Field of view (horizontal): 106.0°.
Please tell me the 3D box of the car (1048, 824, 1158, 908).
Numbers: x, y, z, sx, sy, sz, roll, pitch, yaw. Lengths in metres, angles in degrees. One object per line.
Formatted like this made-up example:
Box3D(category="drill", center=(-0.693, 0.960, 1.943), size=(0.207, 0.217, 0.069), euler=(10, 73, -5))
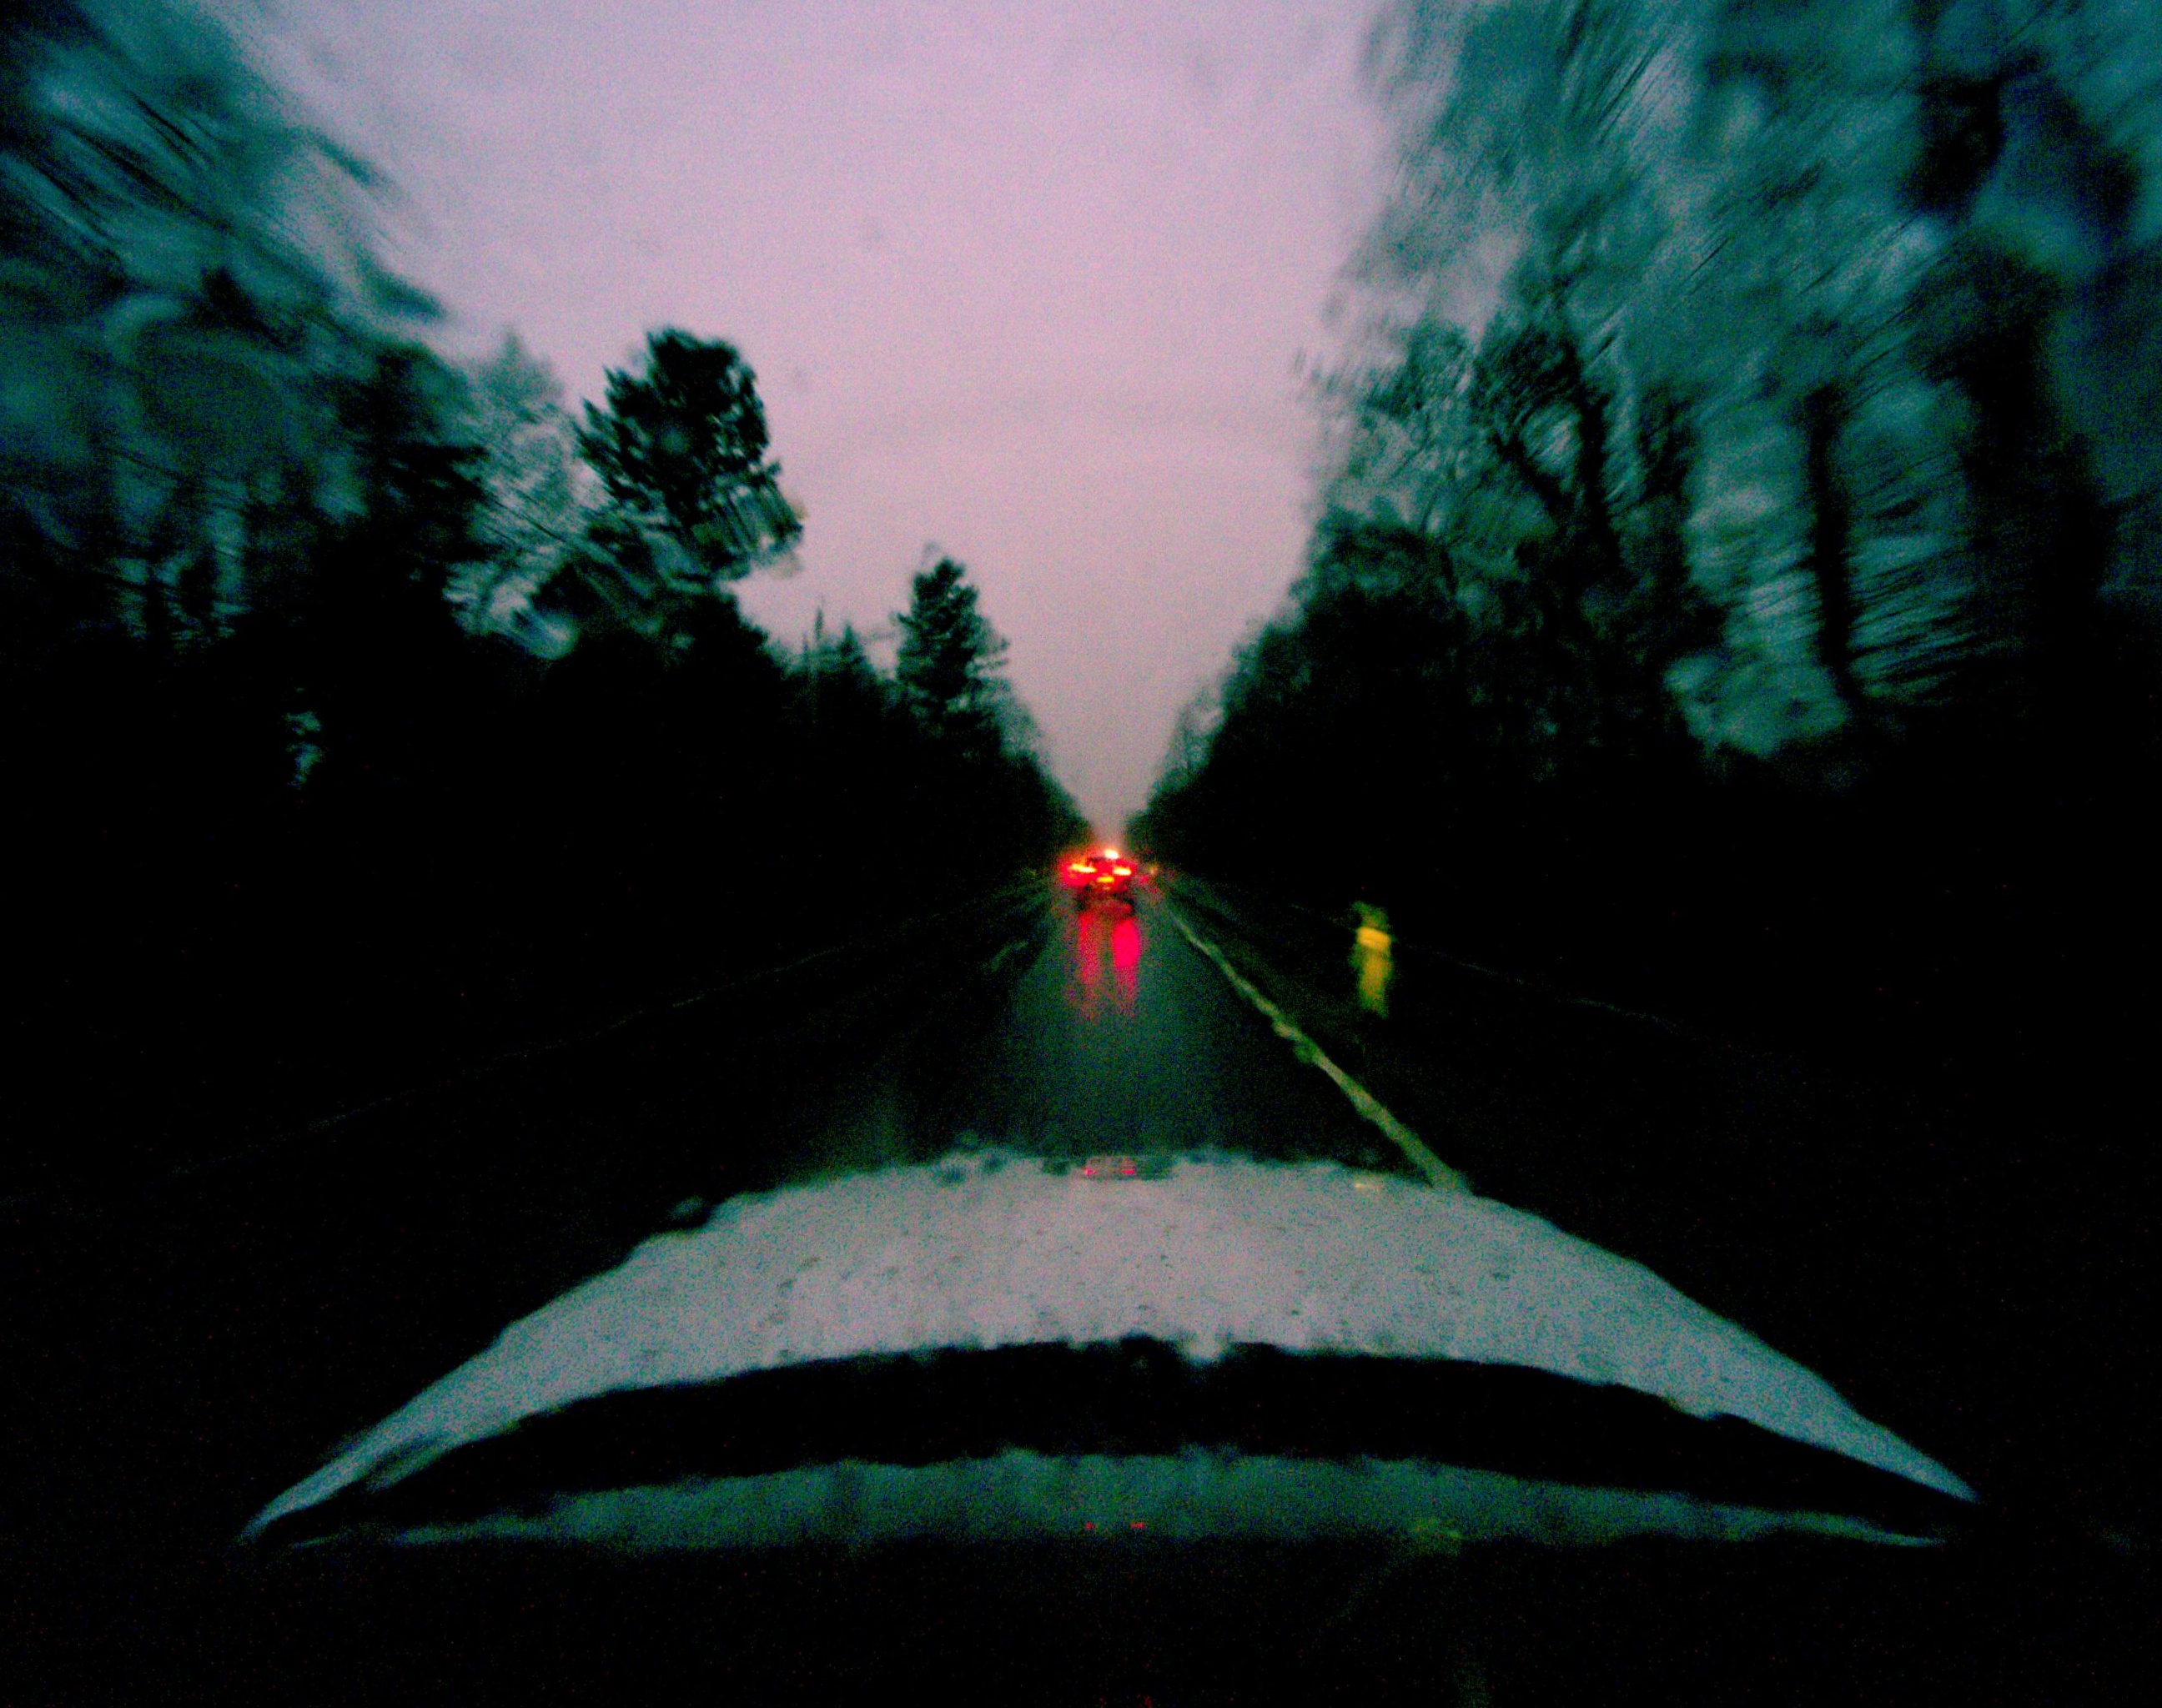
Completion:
Box3D(category="car", center=(0.760, 0.353, 26.974), size=(3.171, 2.386, 6.639), euler=(-1, 0, 2))
